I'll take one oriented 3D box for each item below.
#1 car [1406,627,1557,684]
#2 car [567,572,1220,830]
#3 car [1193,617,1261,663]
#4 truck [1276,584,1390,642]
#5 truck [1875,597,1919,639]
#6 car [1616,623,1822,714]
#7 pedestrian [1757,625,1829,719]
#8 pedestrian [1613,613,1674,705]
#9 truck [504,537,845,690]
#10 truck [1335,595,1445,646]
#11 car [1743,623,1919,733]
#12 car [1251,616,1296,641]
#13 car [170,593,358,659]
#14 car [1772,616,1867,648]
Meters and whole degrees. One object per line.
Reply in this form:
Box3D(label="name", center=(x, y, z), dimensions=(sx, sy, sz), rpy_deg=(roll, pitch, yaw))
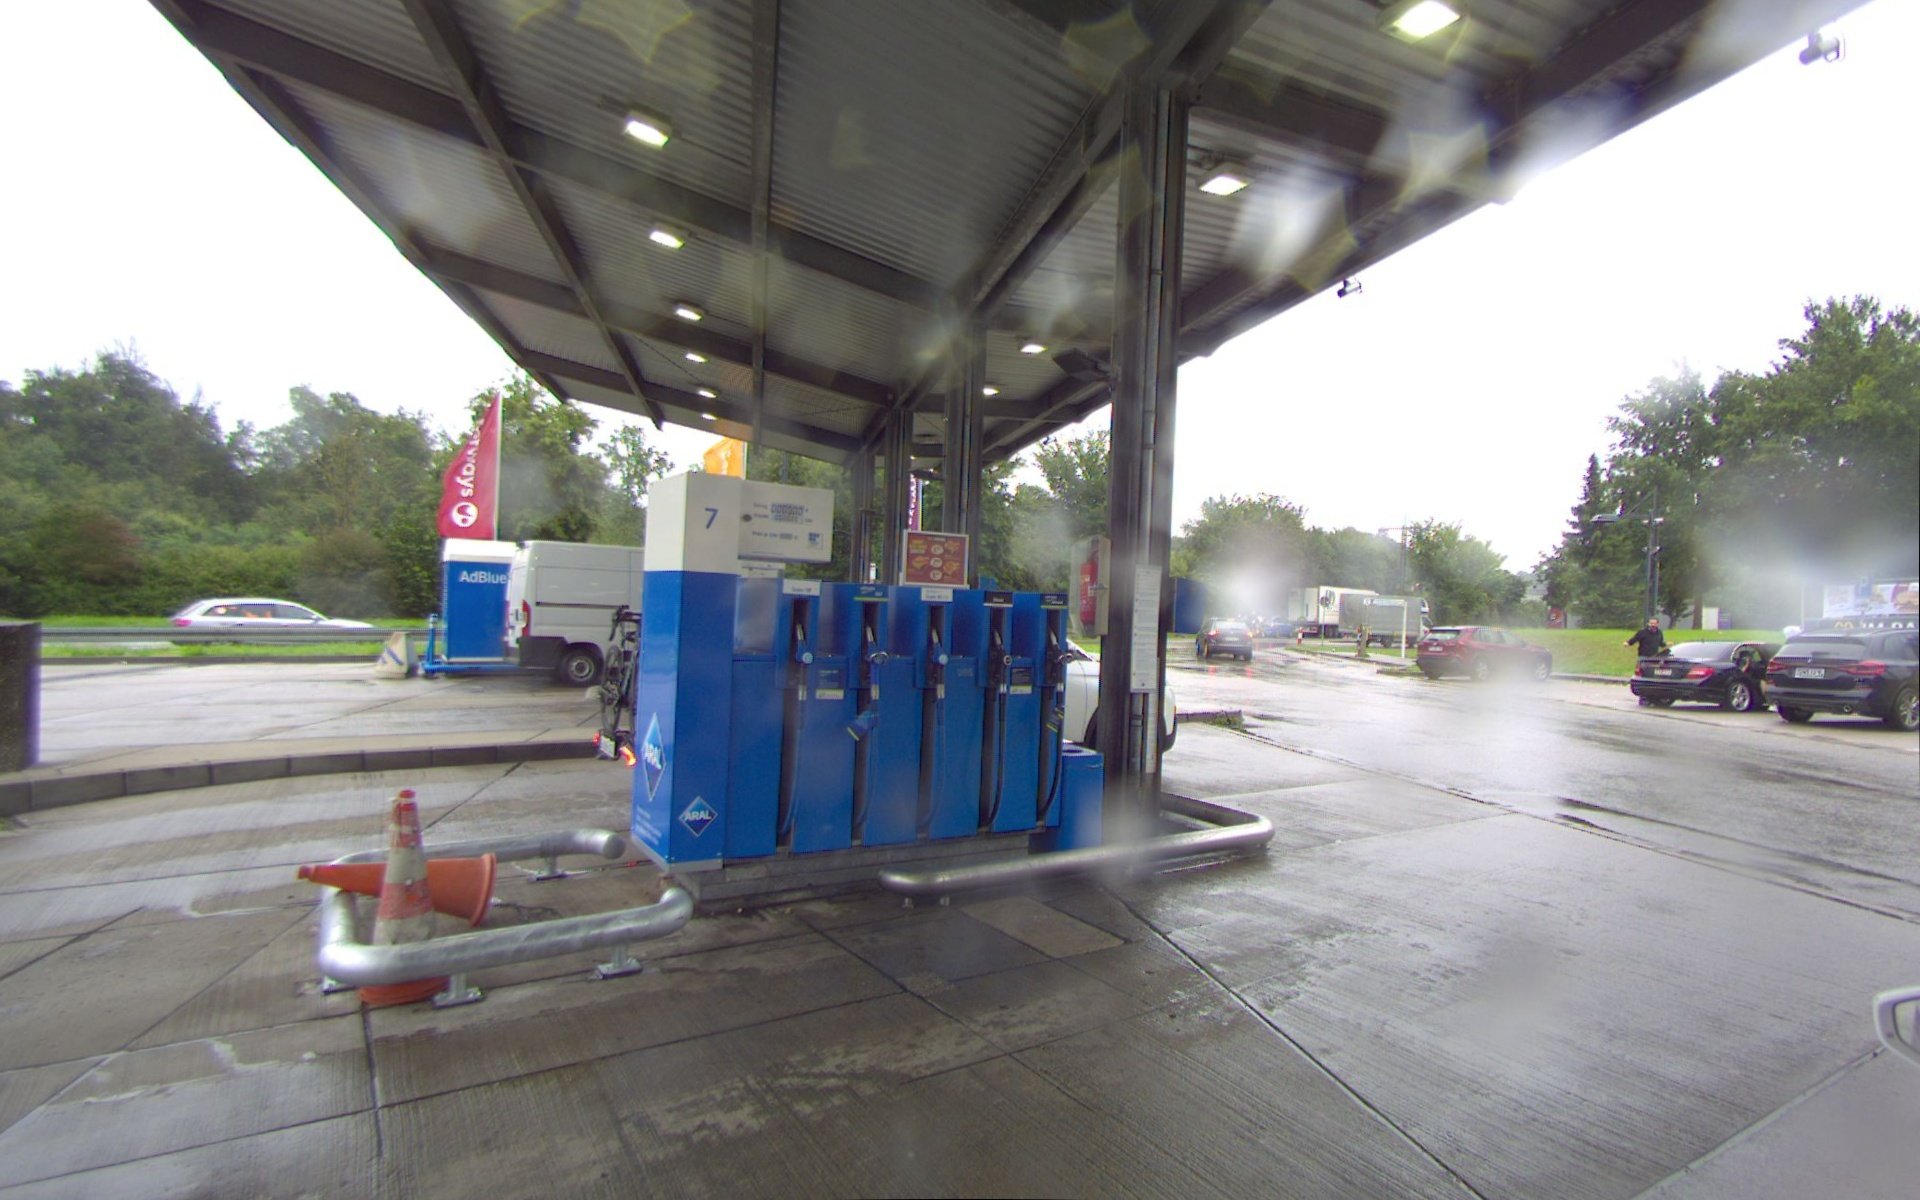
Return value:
Box3D(label="car", center=(16.109, 1.669, 31.012), dimensions=(4.283, 1.666, 1.933), rpy_deg=(1, -2, -25))
Box3D(label="car", center=(-0.395, 0.701, 8.470), dimensions=(5.210, 1.629, 1.852), rpy_deg=(2, 0, -30))
Box3D(label="car", center=(10.718, 1.590, 40.595), dimensions=(1.960, 1.700, 4.002), rpy_deg=(2, -1, 5))
Box3D(label="truck", center=(31.917, 1.185, 85.160), dimensions=(3.498, 4.397, 16.922), rpy_deg=(2, 0, 40))
Box3D(label="truck", center=(68.891, 1.322, 71.706), dimensions=(5.285, 2.959, 2.191), rpy_deg=(2, 0, -5))
Box3D(label="car", center=(15.974, 1.356, 21.101), dimensions=(4.293, 1.734, 2.007), rpy_deg=(1, -2, -31))
Box3D(label="pedestrian", center=(15.395, 1.306, 18.588), dimensions=(0.938, 1.653, 0.701), rpy_deg=(2, 0, 36))
Box3D(label="pedestrian", center=(14.641, 1.248, 21.533), dimensions=(0.690, 1.912, 0.894), rpy_deg=(2, 0, 6))
Box3D(label="truck", center=(-5.306, 0.293, 18.952), dimensions=(5.793, 2.527, 2.221), rpy_deg=(2, 0, -30))
Box3D(label="truck", center=(27.899, 1.344, 65.127), dimensions=(7.262, 3.126, 2.468), rpy_deg=(2, 0, -27))
Box3D(label="car", center=(16.204, 1.270, 17.478), dimensions=(4.274, 1.734, 2.016), rpy_deg=(1, -1, -18))
Box3D(label="car", center=(22.940, 2.062, 73.446), dimensions=(1.787, 1.704, 3.934), rpy_deg=(2, 0, 40))
Box3D(label="car", center=(-18.677, 0.723, 27.049), dimensions=(3.969, 1.650, 1.756), rpy_deg=(3, -1, -41))
Box3D(label="car", center=(53.475, 1.977, 62.582), dimensions=(4.058, 1.806, 1.843), rpy_deg=(2, 0, 25))
